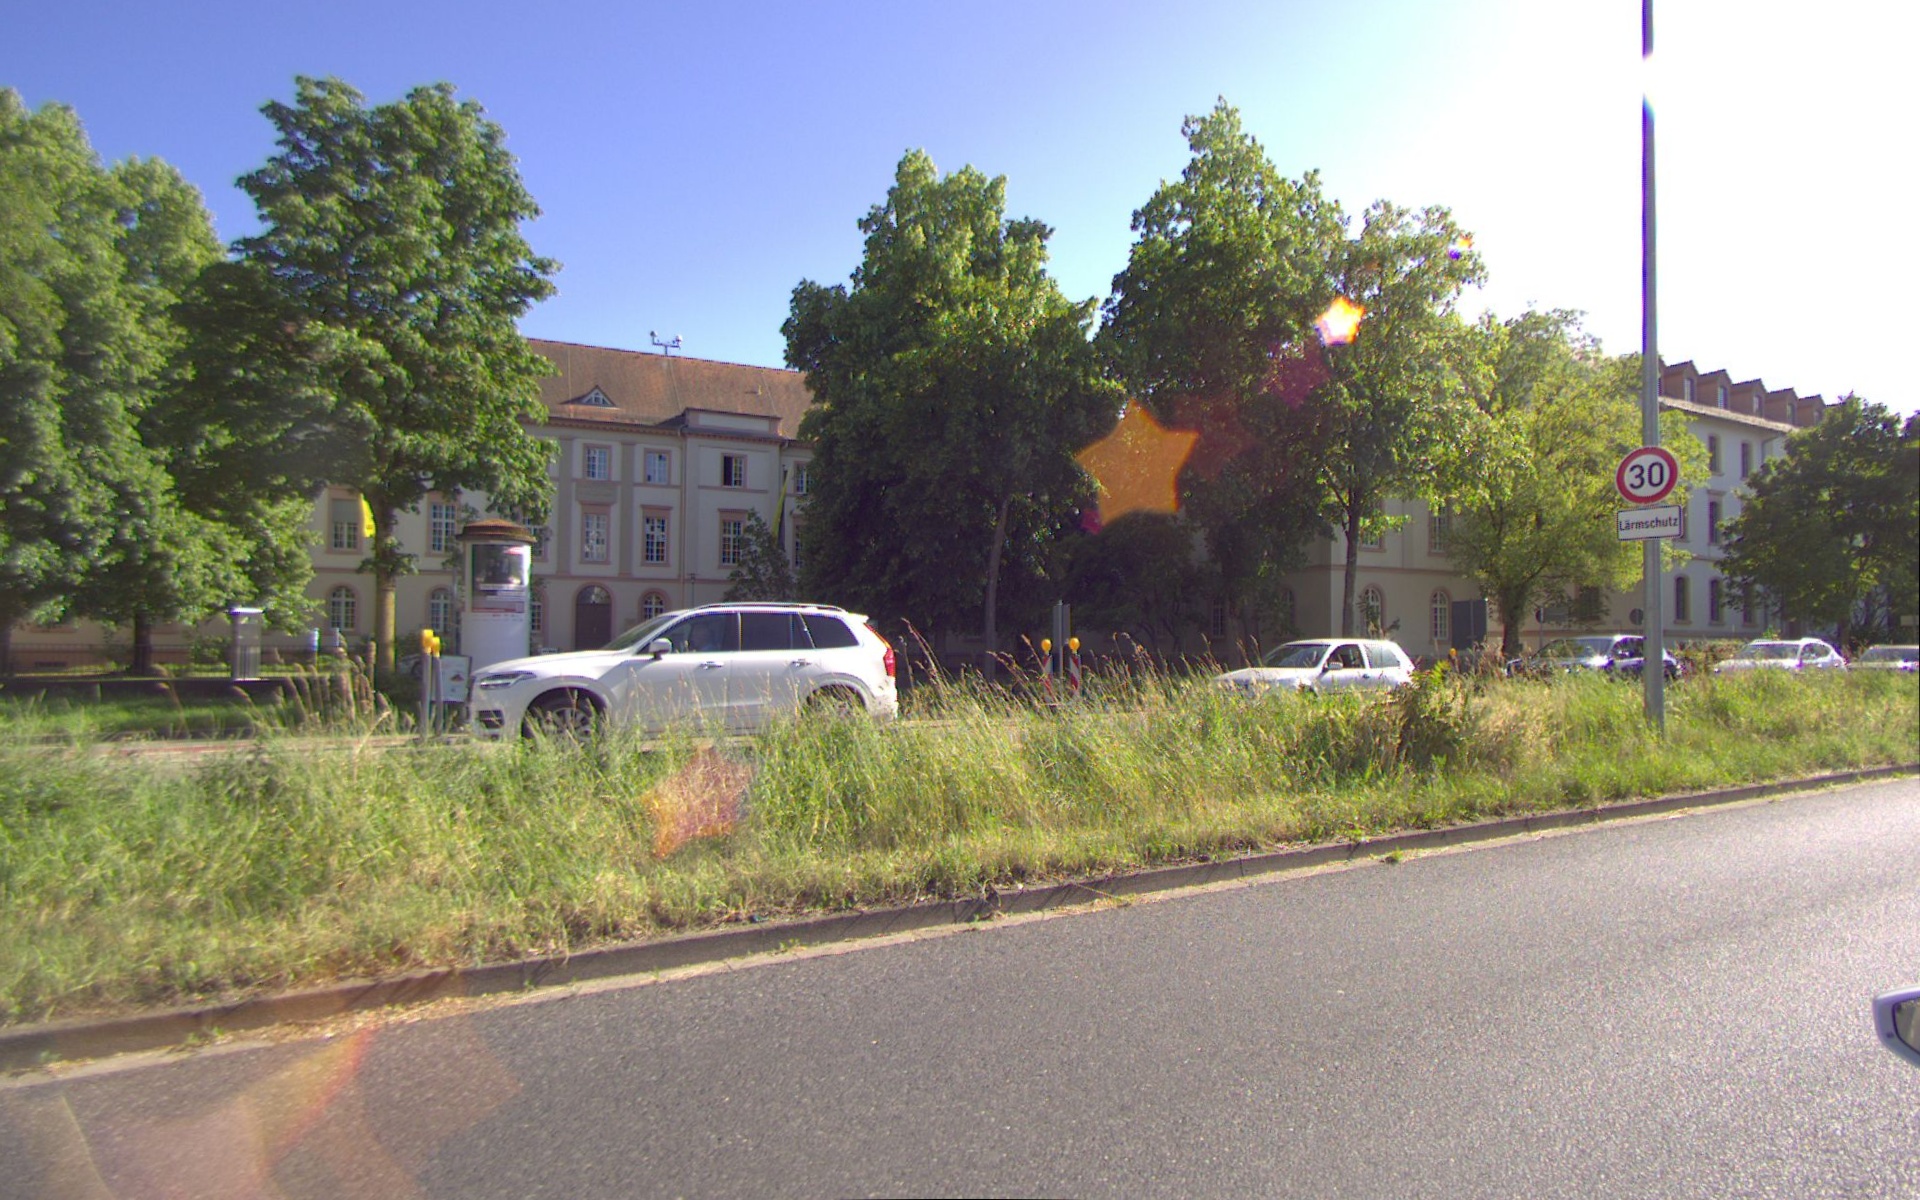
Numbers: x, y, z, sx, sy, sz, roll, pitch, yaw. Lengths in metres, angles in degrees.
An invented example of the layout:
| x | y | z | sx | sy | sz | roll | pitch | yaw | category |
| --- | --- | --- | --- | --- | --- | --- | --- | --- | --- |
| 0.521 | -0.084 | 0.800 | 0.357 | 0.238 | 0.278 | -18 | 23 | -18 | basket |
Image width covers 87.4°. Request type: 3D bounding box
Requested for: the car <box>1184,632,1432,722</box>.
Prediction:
| x | y | z | sx | sy | sz | roll | pitch | yaw | category |
| --- | --- | --- | --- | --- | --- | --- | --- | --- | --- |
| 6.035 | 1.276 | 17.289 | 4.210 | 1.369 | 1.787 | 2 | -2 | -31 | car |

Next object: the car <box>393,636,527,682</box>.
| x | y | z | sx | sy | sz | roll | pitch | yaw | category |
| --- | --- | --- | --- | --- | --- | --- | --- | --- | --- |
| -20.055 | 2.391 | 40.366 | 4.632 | 1.511 | 1.634 | 6 | -3 | -30 | car |

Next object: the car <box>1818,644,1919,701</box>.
| x | y | z | sx | sy | sz | roll | pitch | yaw | category |
| --- | --- | --- | --- | --- | --- | --- | --- | --- | --- |
| 27.735 | 2.188 | 30.117 | 4.209 | 1.539 | 1.787 | 4 | -2 | -30 | car |

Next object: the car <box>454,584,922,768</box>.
| x | y | z | sx | sy | sz | roll | pitch | yaw | category |
| --- | --- | --- | --- | --- | --- | --- | --- | --- | --- |
| -3.046 | 0.845 | 11.738 | 4.975 | 1.766 | 1.787 | 2 | -3 | -31 | car |

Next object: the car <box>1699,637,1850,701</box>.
| x | y | z | sx | sy | sz | roll | pitch | yaw | category |
| --- | --- | --- | --- | --- | --- | --- | --- | --- | --- |
| 21.435 | 1.788 | 26.408 | 4.210 | 1.539 | 1.787 | 2 | -2 | -31 | car |

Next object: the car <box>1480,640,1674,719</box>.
| x | y | z | sx | sy | sz | roll | pitch | yaw | category |
| --- | --- | --- | --- | --- | --- | --- | --- | --- | --- |
| 13.375 | 1.673 | 21.718 | 4.394 | 1.539 | 1.787 | 2 | -2 | -31 | car |
